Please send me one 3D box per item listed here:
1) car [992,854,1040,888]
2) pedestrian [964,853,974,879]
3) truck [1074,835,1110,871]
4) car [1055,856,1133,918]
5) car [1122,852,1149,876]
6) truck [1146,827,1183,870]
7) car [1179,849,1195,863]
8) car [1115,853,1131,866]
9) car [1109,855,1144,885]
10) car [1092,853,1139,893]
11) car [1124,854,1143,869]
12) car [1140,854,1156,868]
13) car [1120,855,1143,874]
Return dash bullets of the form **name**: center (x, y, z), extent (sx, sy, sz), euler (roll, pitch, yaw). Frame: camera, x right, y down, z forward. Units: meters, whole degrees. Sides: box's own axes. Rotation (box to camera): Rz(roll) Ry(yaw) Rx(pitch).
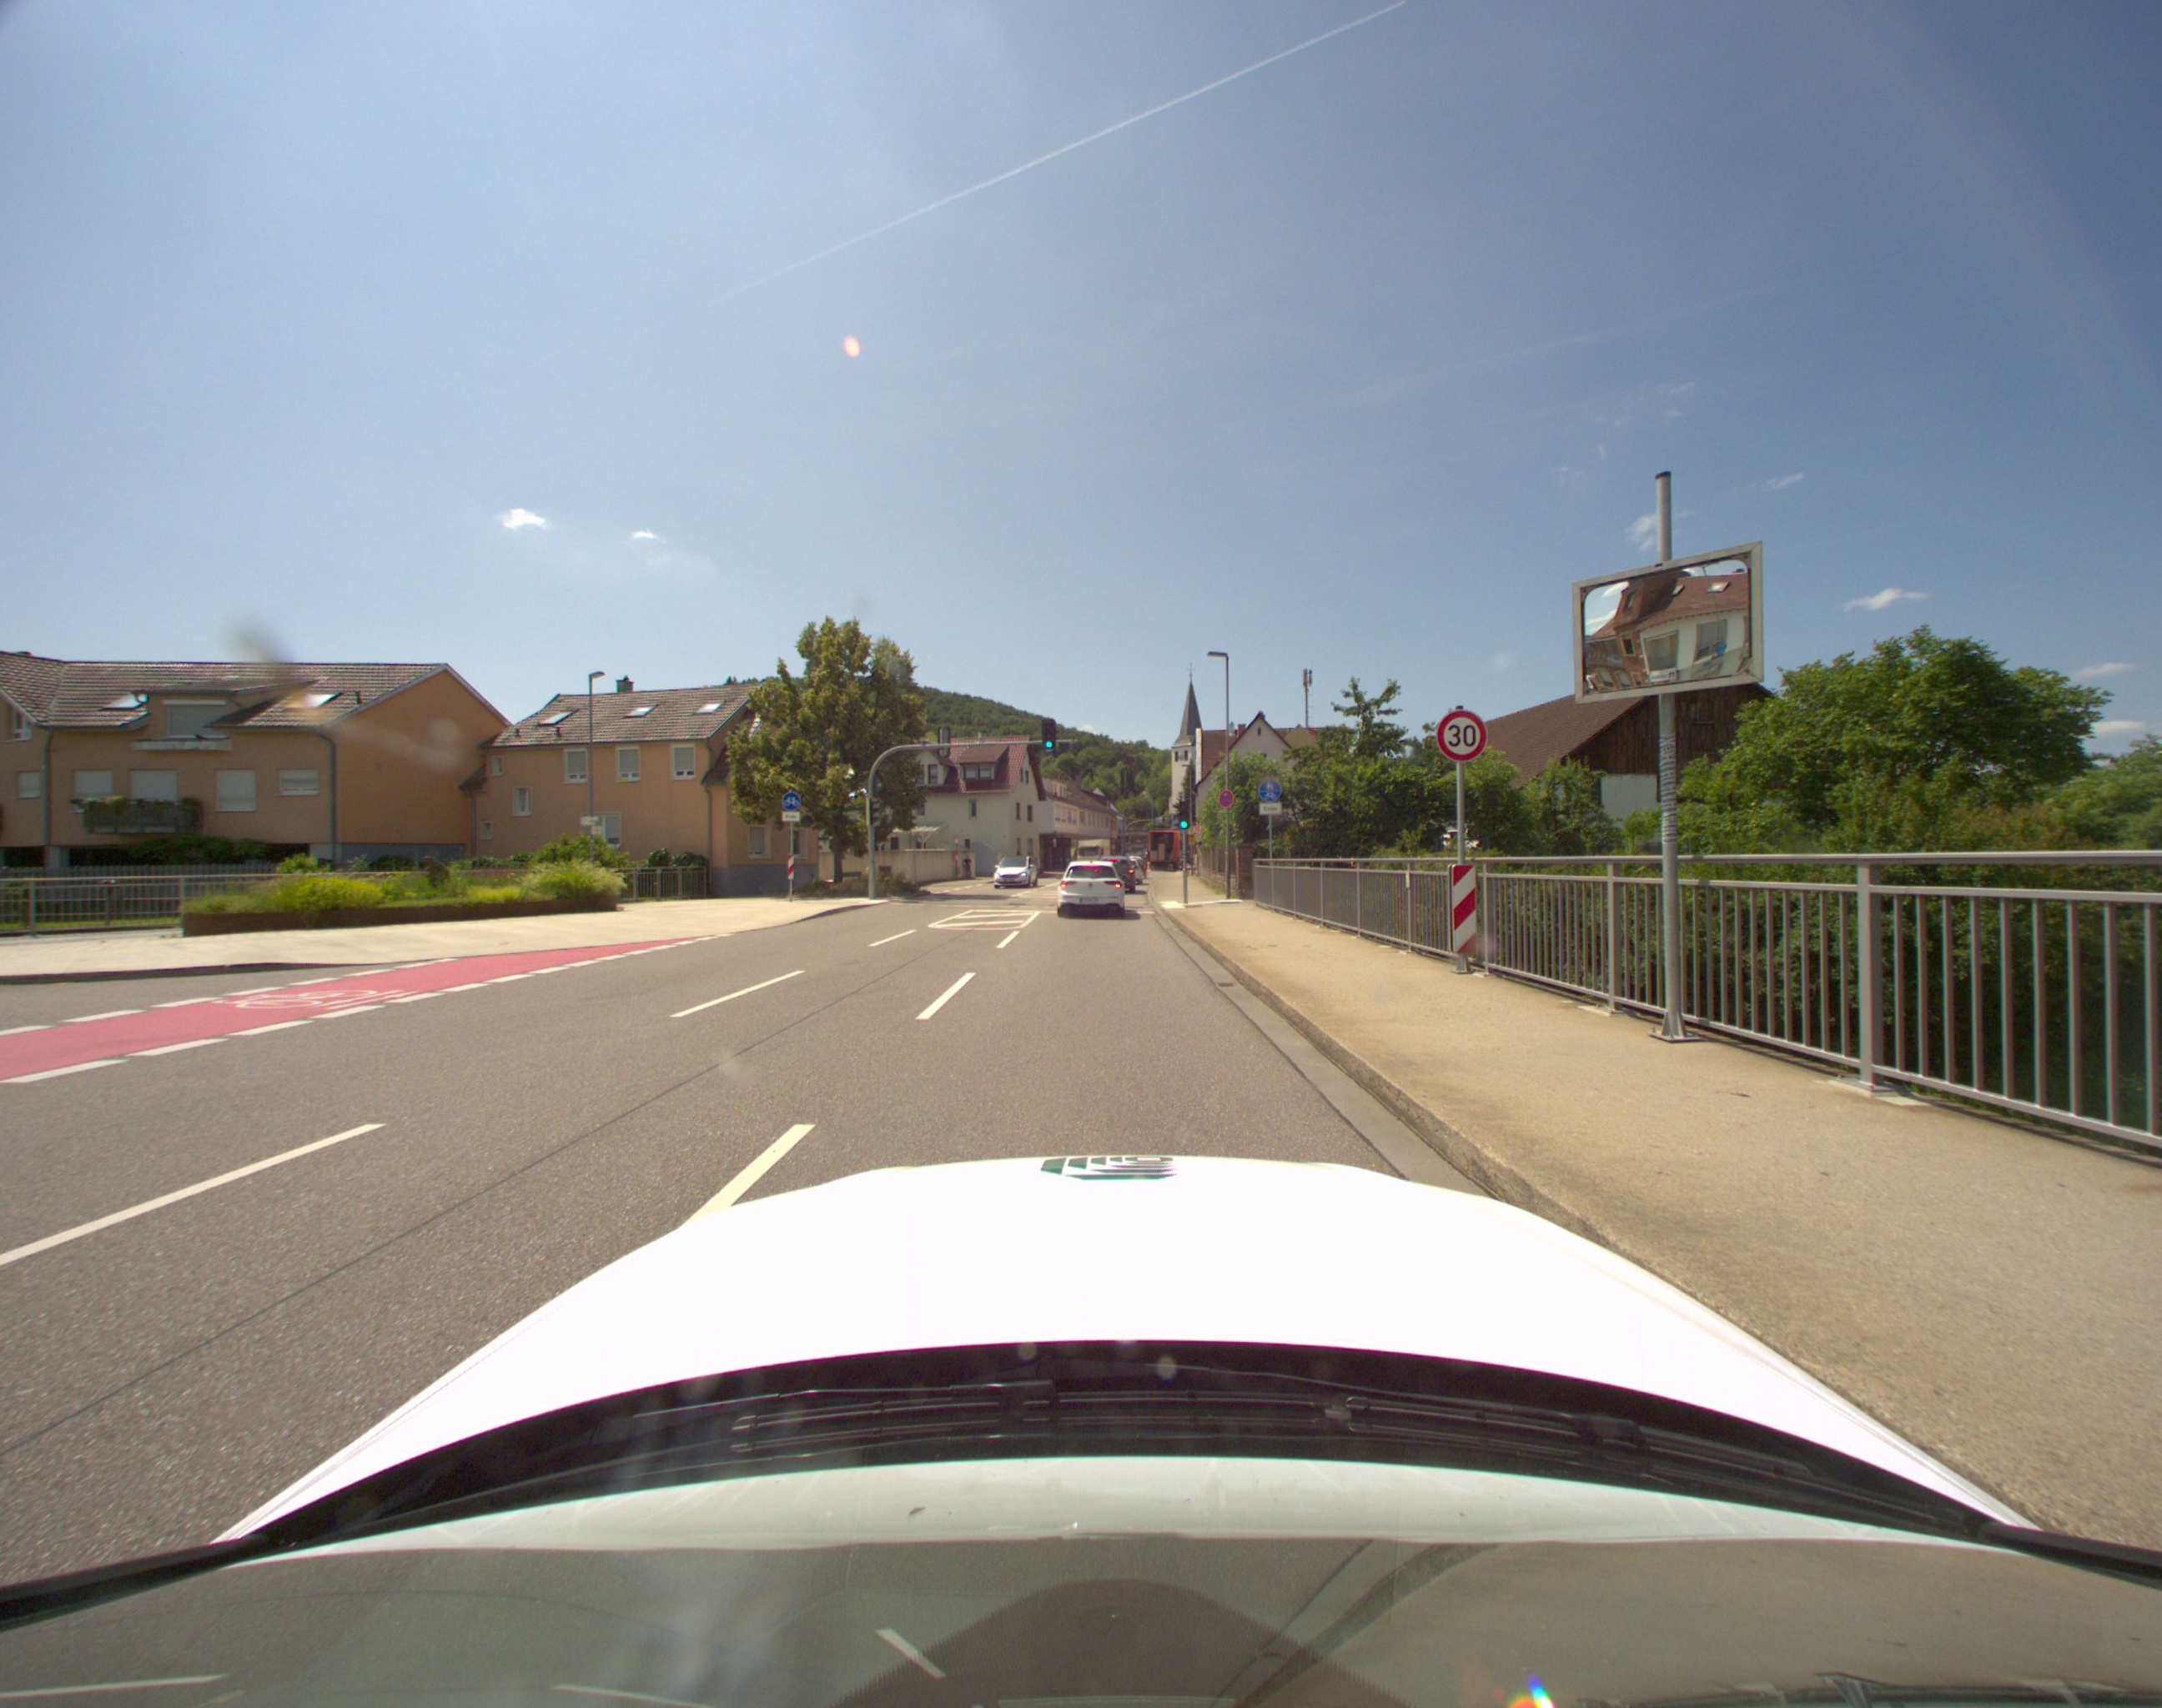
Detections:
- **car**: center (-3.295, 0.865, 41.932), extent (1.806, 1.650, 4.006), euler (0, -1, 5)
- **pedestrian**: center (-7.648, 0.844, 55.454), extent (0.430, 1.764, 0.560), euler (-1, 0, 24)
- **truck**: center (1.158, -0.068, 78.776), extent (2.487, 3.235, 6.055), euler (-2, -1, 9)
- **car**: center (0.437, 0.849, 22.212), extent (1.806, 1.519, 4.006), euler (0, -1, 5)
- **car**: center (3.965, 0.758, 58.890), extent (1.806, 1.629, 4.006), euler (-2, -1, 5)
- **truck**: center (8.714, -0.466, 84.202), extent (3.348, 4.170, 9.539), euler (-2, -1, 8)
- **car**: center (12.900, 0.262, 99.128), extent (1.806, 1.519, 4.006), euler (-2, -1, 5)
- **car**: center (5.384, 0.696, 104.129), extent (1.729, 1.651, 3.676), euler (-1, 0, 8)
- **car**: center (2.646, 0.928, 47.016), extent (1.806, 1.629, 4.006), euler (-2, -1, 5)
- **car**: center (1.597, 0.840, 36.370), extent (1.806, 1.629, 4.006), euler (-2, -1, 5)
- **car**: center (5.587, 0.769, 86.508), extent (1.806, 1.519, 4.006), euler (-2, -1, 5)
- **car**: center (8.033, 0.857, 97.796), extent (1.806, 1.519, 4.006), euler (-2, -1, 5)
- **car**: center (4.482, 0.931, 72.048), extent (1.806, 1.519, 4.006), euler (-2, -1, 5)
